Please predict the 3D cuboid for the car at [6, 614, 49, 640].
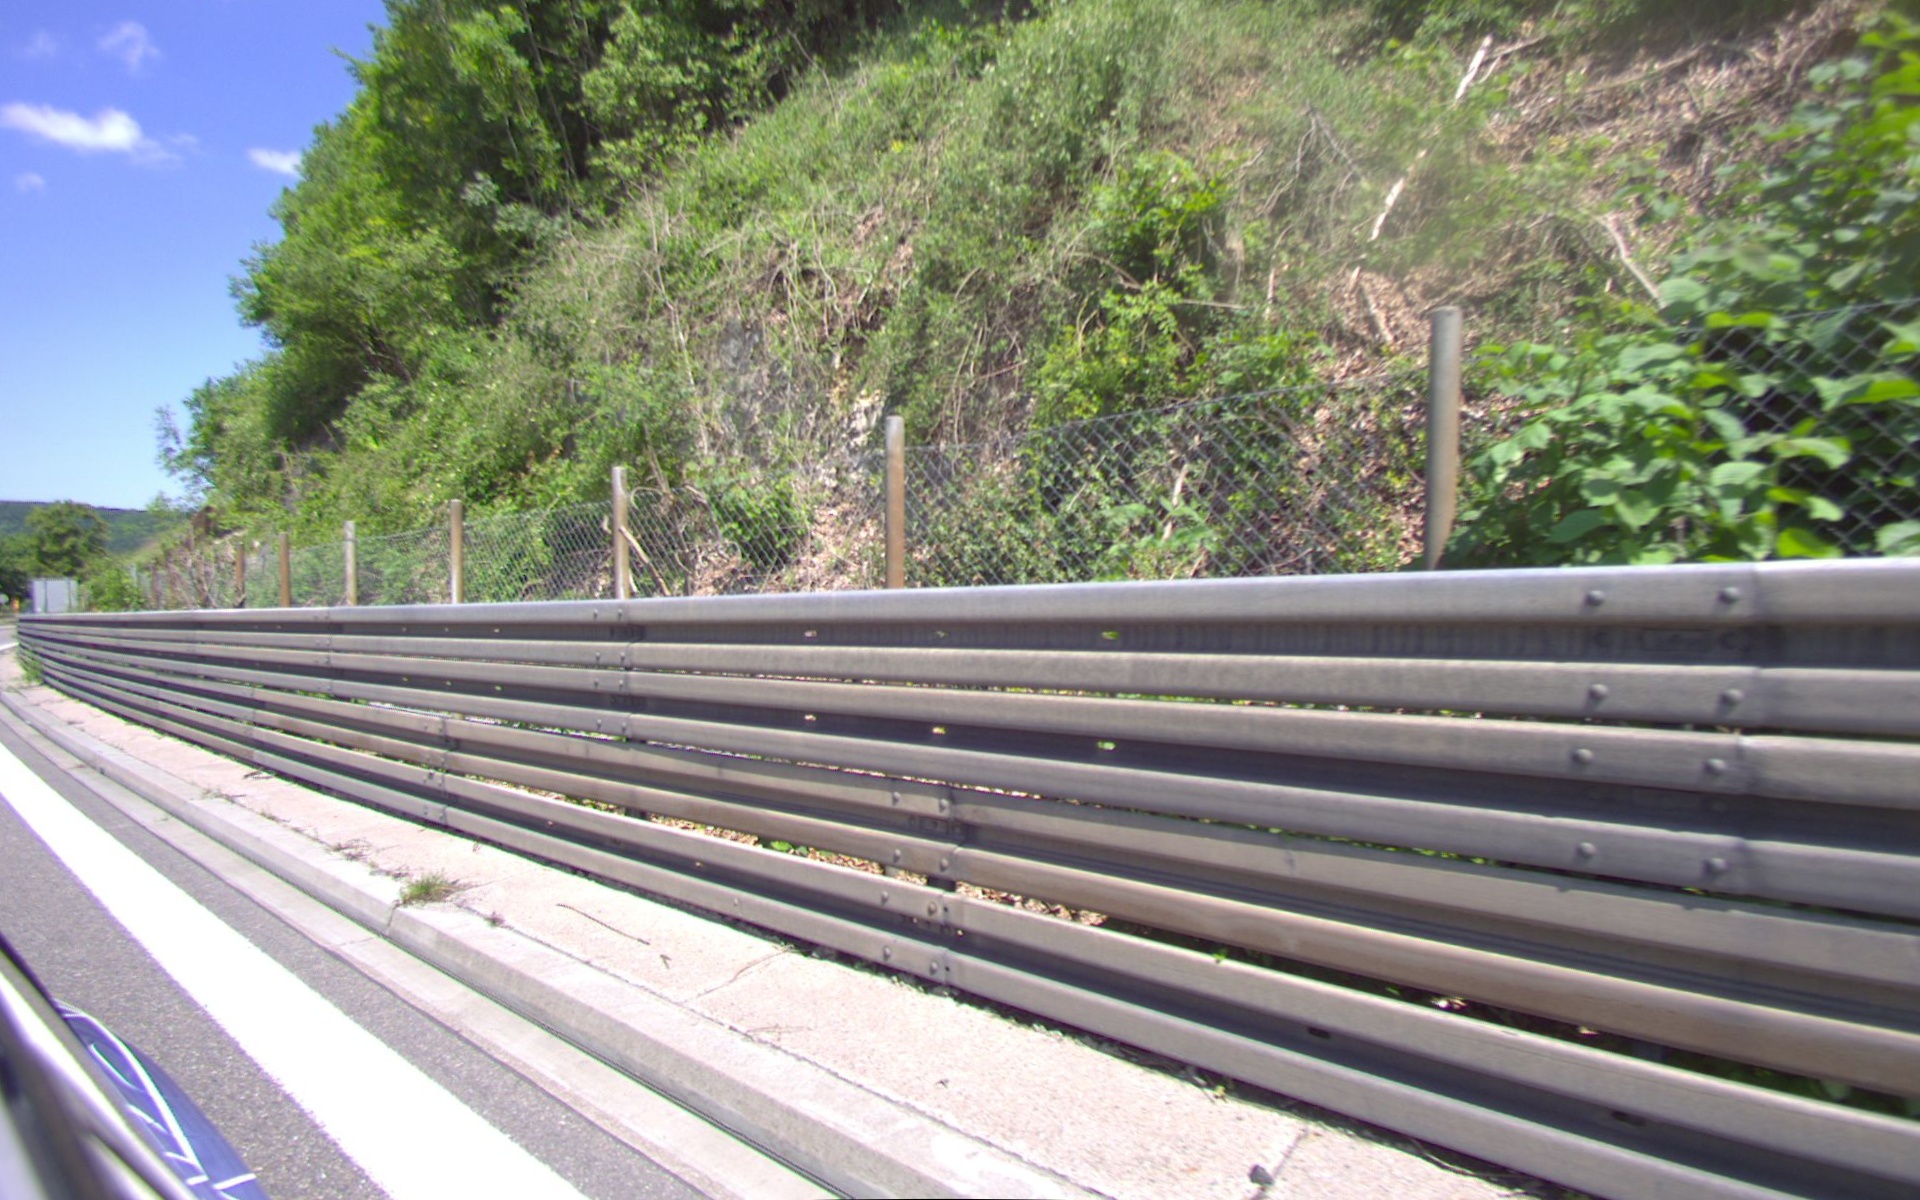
[{"bbox_3d":[-76.561,2.200,83.125,1.966,2.029,4.011,0,-1,-33],"label":"car"}]
